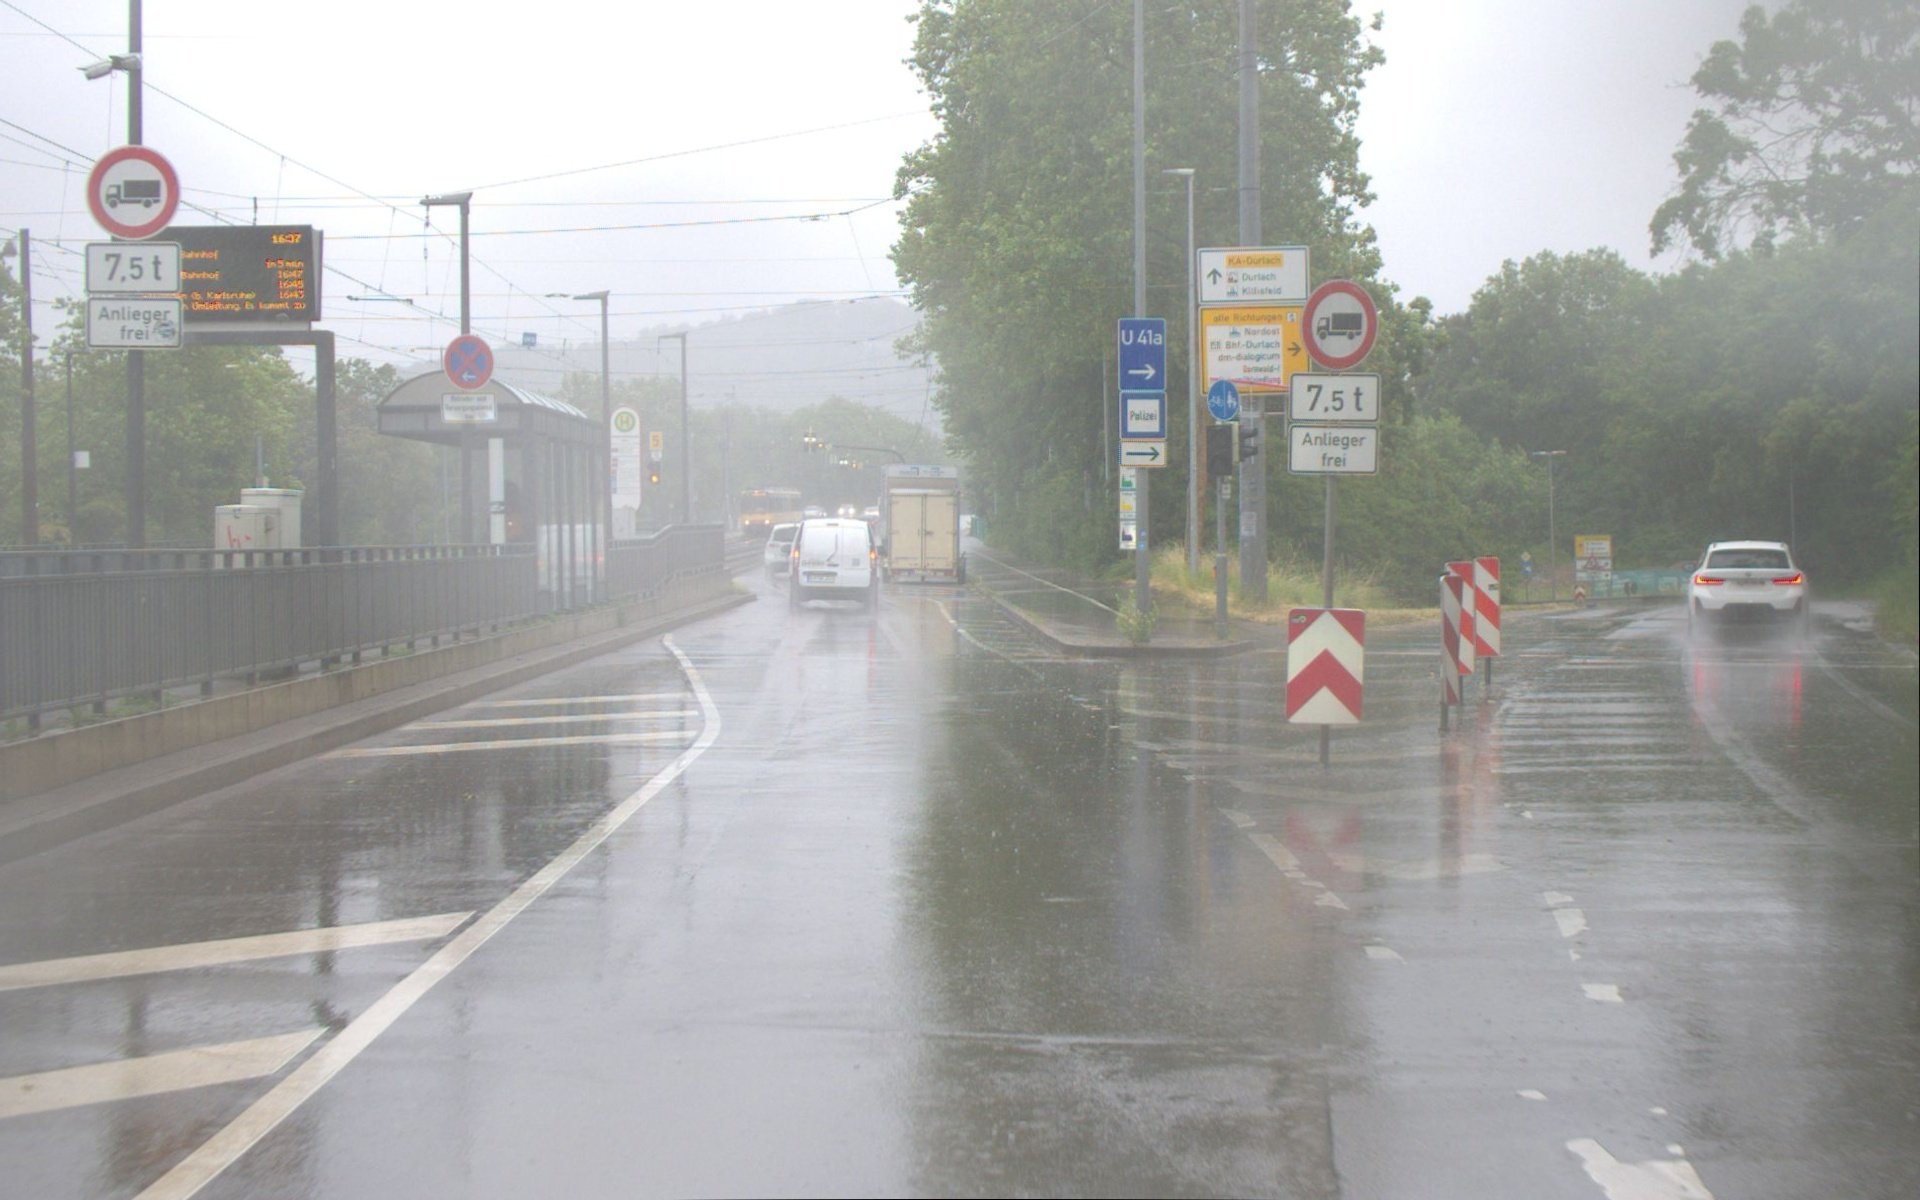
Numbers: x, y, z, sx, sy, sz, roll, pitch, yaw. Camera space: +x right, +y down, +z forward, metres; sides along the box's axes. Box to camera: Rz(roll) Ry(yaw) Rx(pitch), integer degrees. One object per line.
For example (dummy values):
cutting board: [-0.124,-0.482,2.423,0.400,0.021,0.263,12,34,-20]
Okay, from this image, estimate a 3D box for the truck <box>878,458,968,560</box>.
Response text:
truck: [-1.448,-3.381,129.802,2.775,3.691,9.854,0,1,-4]

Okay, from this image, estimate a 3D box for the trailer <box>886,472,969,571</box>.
trailer: [-0.903,-2.215,98.638,2.166,2.748,5.676,0,1,1]

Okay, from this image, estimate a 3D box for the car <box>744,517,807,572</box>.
car: [-5.580,-1.688,104.476,1.786,1.637,3.968,0,1,-1]

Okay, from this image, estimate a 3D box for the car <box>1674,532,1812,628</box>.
car: [12.230,-0.338,53.902,1.889,1.426,3.999,0,1,10]

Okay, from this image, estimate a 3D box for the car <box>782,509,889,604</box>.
car: [-2.526,-0.893,69.060,1.993,1.842,4.001,0,1,-4]
